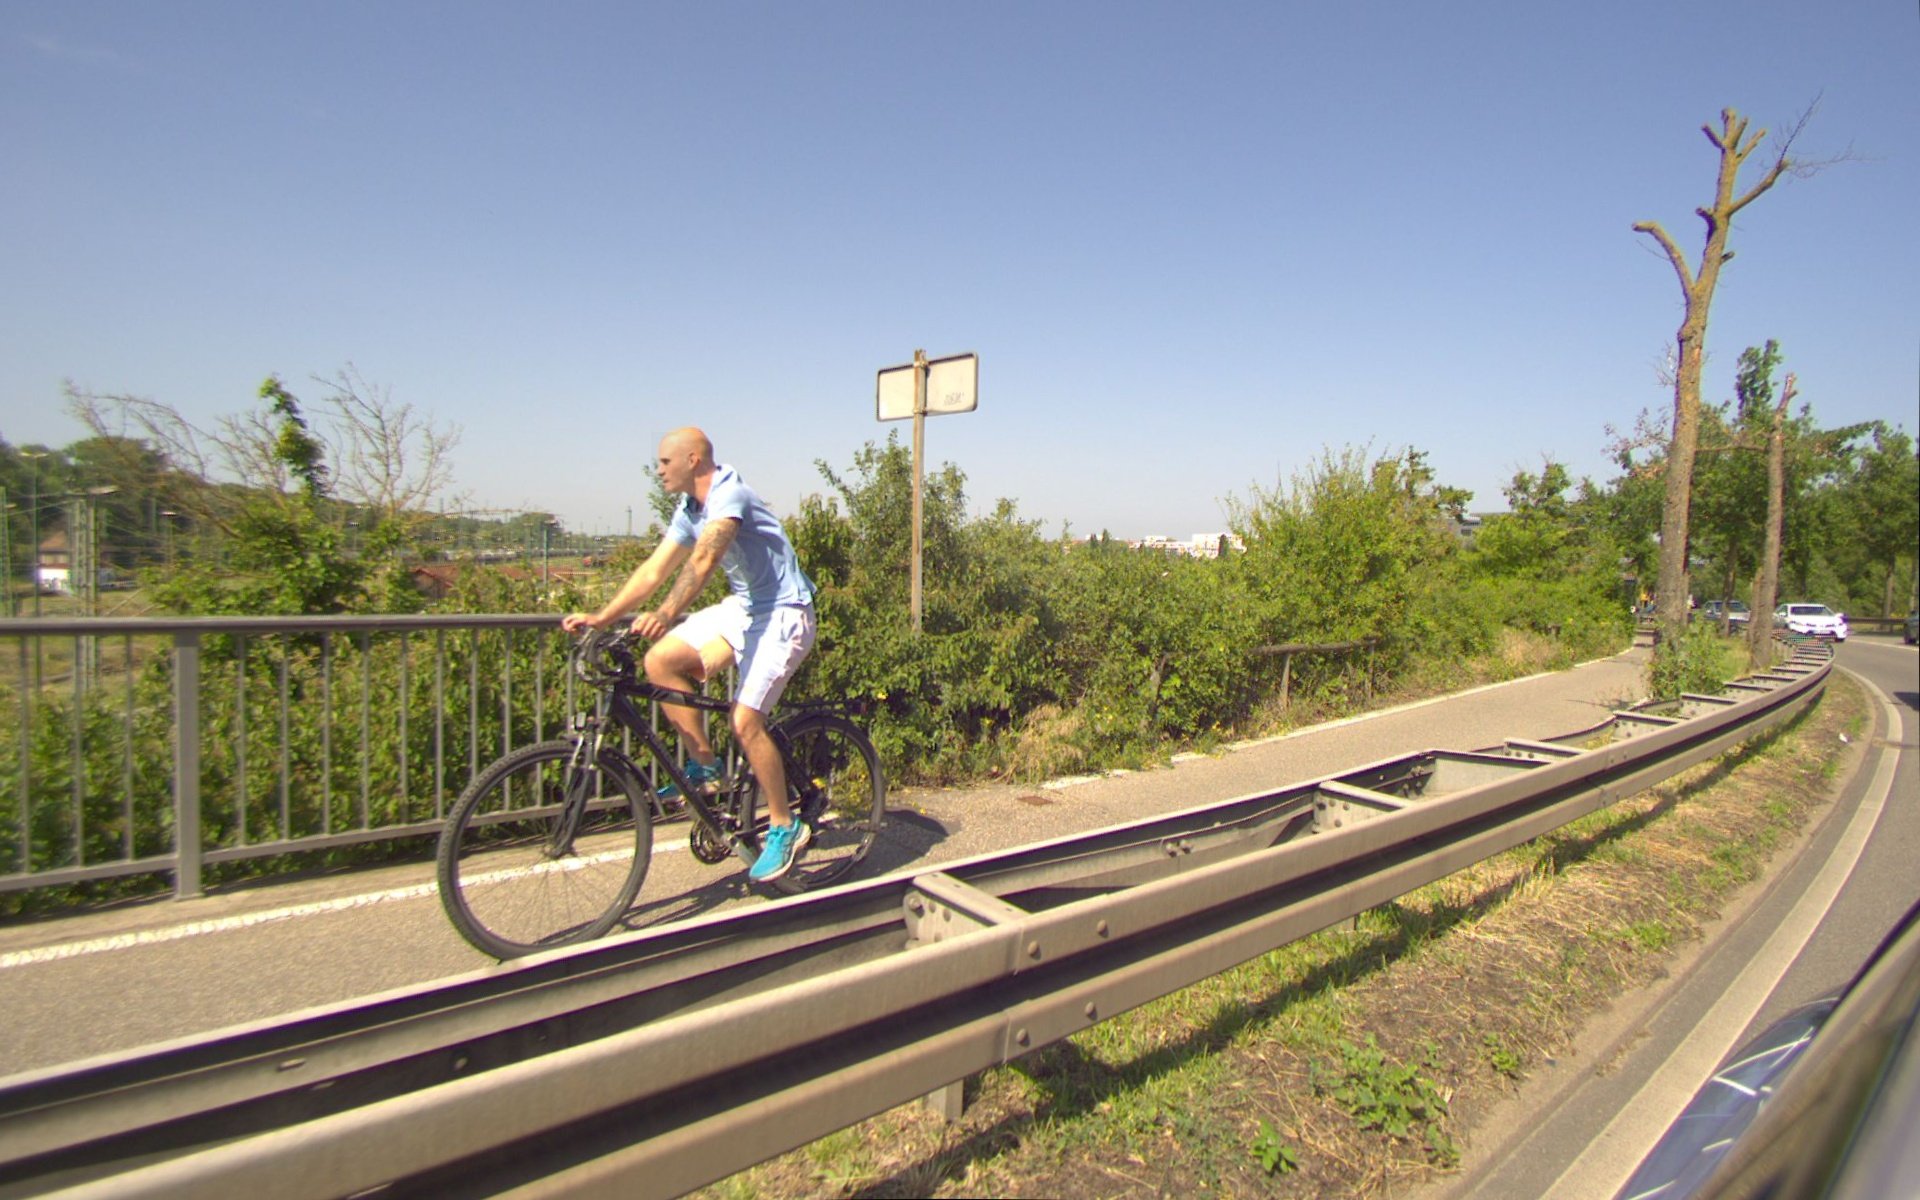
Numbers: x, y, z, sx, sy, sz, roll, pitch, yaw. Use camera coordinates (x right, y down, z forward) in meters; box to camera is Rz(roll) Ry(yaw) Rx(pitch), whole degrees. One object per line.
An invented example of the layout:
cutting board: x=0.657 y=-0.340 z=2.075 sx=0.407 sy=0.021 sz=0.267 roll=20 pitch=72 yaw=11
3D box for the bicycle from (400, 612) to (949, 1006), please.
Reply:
bicycle: x=-0.966 y=0.606 z=3.743 sx=1.815 sy=1.032 sz=0.703 roll=-1 pitch=5 yaw=-43

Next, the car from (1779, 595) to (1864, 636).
car: x=33.745 y=0.559 z=39.738 sx=1.832 sy=1.507 sz=4.106 roll=1 pitch=0 yaw=31

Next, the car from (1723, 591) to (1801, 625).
car: x=40.128 y=0.350 z=50.735 sx=1.977 sy=1.605 sz=3.971 roll=1 pitch=1 yaw=22

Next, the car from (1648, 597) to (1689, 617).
car: x=54.398 y=0.513 z=77.804 sx=1.687 sy=1.467 sz=4.090 roll=0 pitch=0 yaw=22

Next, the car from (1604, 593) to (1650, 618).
car: x=48.724 y=0.384 z=73.971 sx=1.976 sy=1.790 sz=3.972 roll=0 pitch=0 yaw=21

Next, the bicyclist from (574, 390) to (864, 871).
bicyclist: x=-0.889 y=0.071 z=3.730 sx=0.790 sy=1.538 sz=0.659 roll=-2 pitch=5 yaw=-45

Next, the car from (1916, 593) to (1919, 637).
car: x=33.828 y=0.529 z=33.878 sx=1.922 sy=1.552 sz=4.069 roll=0 pitch=0 yaw=33
